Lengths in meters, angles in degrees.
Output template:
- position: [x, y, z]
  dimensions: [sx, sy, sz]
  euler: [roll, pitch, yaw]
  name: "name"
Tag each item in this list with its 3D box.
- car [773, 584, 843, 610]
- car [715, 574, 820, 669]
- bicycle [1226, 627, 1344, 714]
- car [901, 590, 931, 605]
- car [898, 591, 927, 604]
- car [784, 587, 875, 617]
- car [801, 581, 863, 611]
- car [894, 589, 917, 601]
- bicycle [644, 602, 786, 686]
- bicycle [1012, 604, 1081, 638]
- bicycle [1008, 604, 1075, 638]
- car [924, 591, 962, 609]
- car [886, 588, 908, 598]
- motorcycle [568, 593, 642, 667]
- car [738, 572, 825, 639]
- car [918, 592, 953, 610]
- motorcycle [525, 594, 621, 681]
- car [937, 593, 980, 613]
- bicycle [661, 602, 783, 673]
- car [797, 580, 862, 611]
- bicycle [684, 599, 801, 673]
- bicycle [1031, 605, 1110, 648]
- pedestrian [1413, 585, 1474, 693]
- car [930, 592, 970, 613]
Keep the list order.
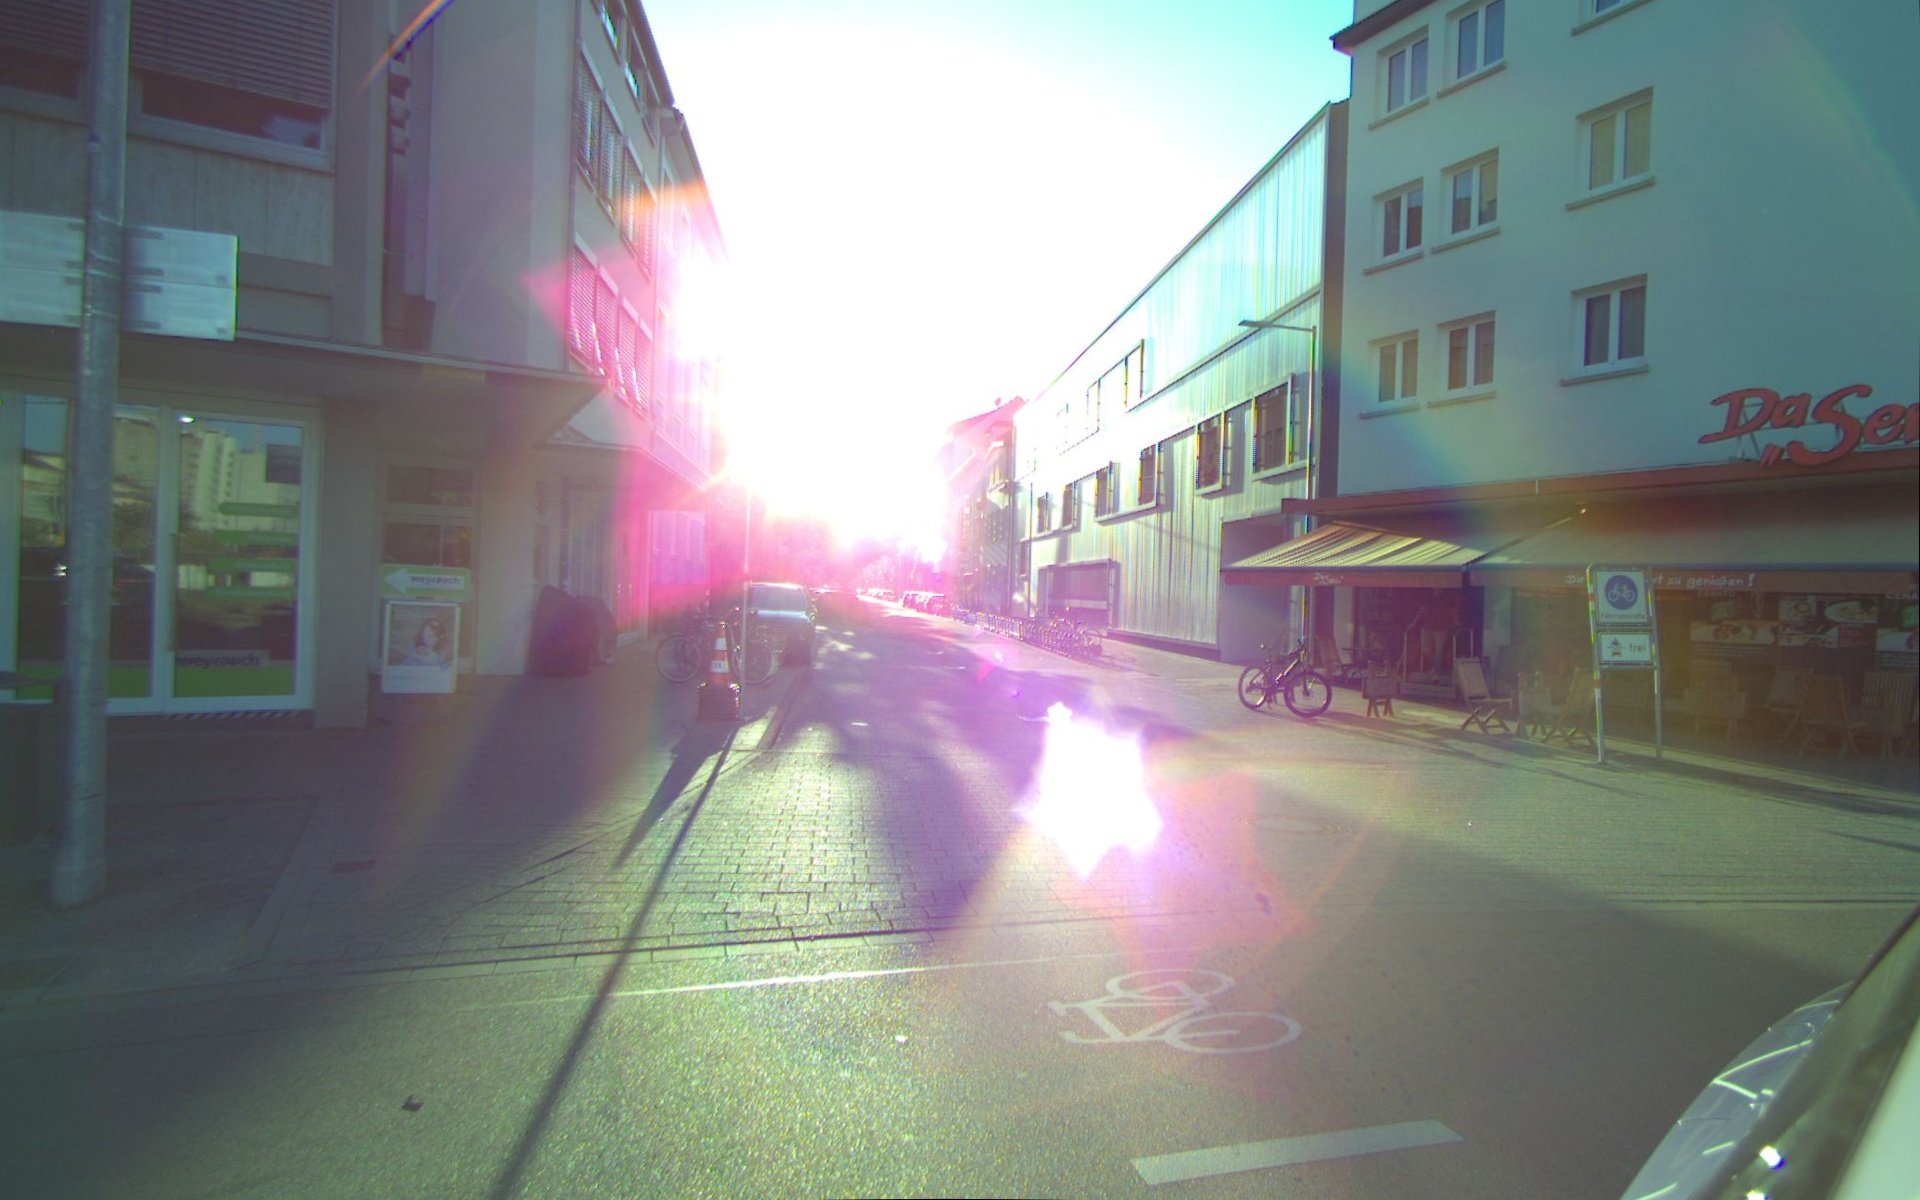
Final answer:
- position: [-9.664, -0.213, 64.513]
  dimensions: [3.922, 1.527, 2.001]
  euler: [2, 0, -34]
  name: "car"
- position: [-4.108, 0.427, 22.250]
  dimensions: [1.881, 1.773, 4.444]
  euler: [4, 0, -7]
  name: "car"
- position: [4.940, 1.042, 15.512]
  dimensions: [0.525, 1.174, 1.913]
  euler: [1, 0, -26]
  name: "bicycle"
- position: [-4.002, -0.202, 91.704]
  dimensions: [2.634, 1.262, 1.451]
  euler: [1, -1, -7]
  name: "car"
- position: [-4.507, -0.223, 96.488]
  dimensions: [2.634, 1.262, 1.405]
  euler: [1, -1, -7]
  name: "car"
- position: [-6.389, 0.126, 49.754]
  dimensions: [4.085, 1.362, 1.995]
  euler: [1, 1, -45]
  name: "car"
- position: [-9.045, -0.288, 71.662]
  dimensions: [3.923, 2.039, 1.846]
  euler: [1, -1, -34]
  name: "car"
- position: [-6.469, -0.603, 119.738]
  dimensions: [2.634, 1.262, 1.451]
  euler: [2, 0, -7]
  name: "car"
- position: [-3.658, 0.656, 15.195]
  dimensions: [1.964, 1.127, 0.586]
  euler: [4, 0, -12]
  name: "bicycle"
- position: [3.004, 0.732, 35.146]
  dimensions: [2.295, 1.159, 0.529]
  euler: [1, -1, -12]
  name: "bicycle"
- position: [2.891, 0.735, 35.719]
  dimensions: [2.295, 1.155, 0.529]
  euler: [1, -1, -12]
  name: "bicycle"
- position: [-1.267, 0.008, 73.267]
  dimensions: [2.635, 1.262, 1.450]
  euler: [1, -1, -4]
  name: "car"
- position: [-8.118, -0.887, 130.170]
  dimensions: [2.634, 1.295, 1.267]
  euler: [1, -1, -7]
  name: "car"
- position: [-6.110, 0.482, 17.559]
  dimensions: [0.724, 1.172, 2.278]
  euler: [2, 0, -7]
  name: "motorcycle"
- position: [-5.144, 0.132, 29.661]
  dimensions: [1.961, 1.641, 4.266]
  euler: [5, 0, -4]
  name: "car"
- position: [-1.908, 0.093, 78.390]
  dimensions: [2.534, 1.317, 1.300]
  euler: [1, -1, -6]
  name: "car"
- position: [-5.768, 0.517, 15.214]
  dimensions: [0.793, 1.183, 2.298]
  euler: [1, 0, -7]
  name: "motorcycle"
- position: [-0.121, 0.202, 64.805]
  dimensions: [2.635, 1.262, 1.450]
  euler: [1, -1, -4]
  name: "car"
- position: [-3.863, 0.608, 16.516]
  dimensions: [1.880, 1.127, 0.629]
  euler: [1, -1, -12]
  name: "bicycle"
- position: [-8.805, -0.298, 68.482]
  dimensions: [3.923, 2.002, 1.867]
  euler: [1, -1, -34]
  name: "car"
- position: [-3.767, 0.623, 17.583]
  dimensions: [1.880, 1.127, 0.629]
  euler: [5, -2, -12]
  name: "bicycle"
- position: [3.347, 0.798, 30.621]
  dimensions: [2.295, 1.247, 0.607]
  euler: [0, 1, -12]
  name: "bicycle"
- position: [8.523, 0.666, 17.837]
  dimensions: [0.749, 1.849, 0.715]
  euler: [0, -1, -42]
  name: "pedestrian"
- position: [-0.692, 0.157, 68.245]
  dimensions: [2.635, 1.377, 1.450]
  euler: [1, -1, -4]
  name: "car"
